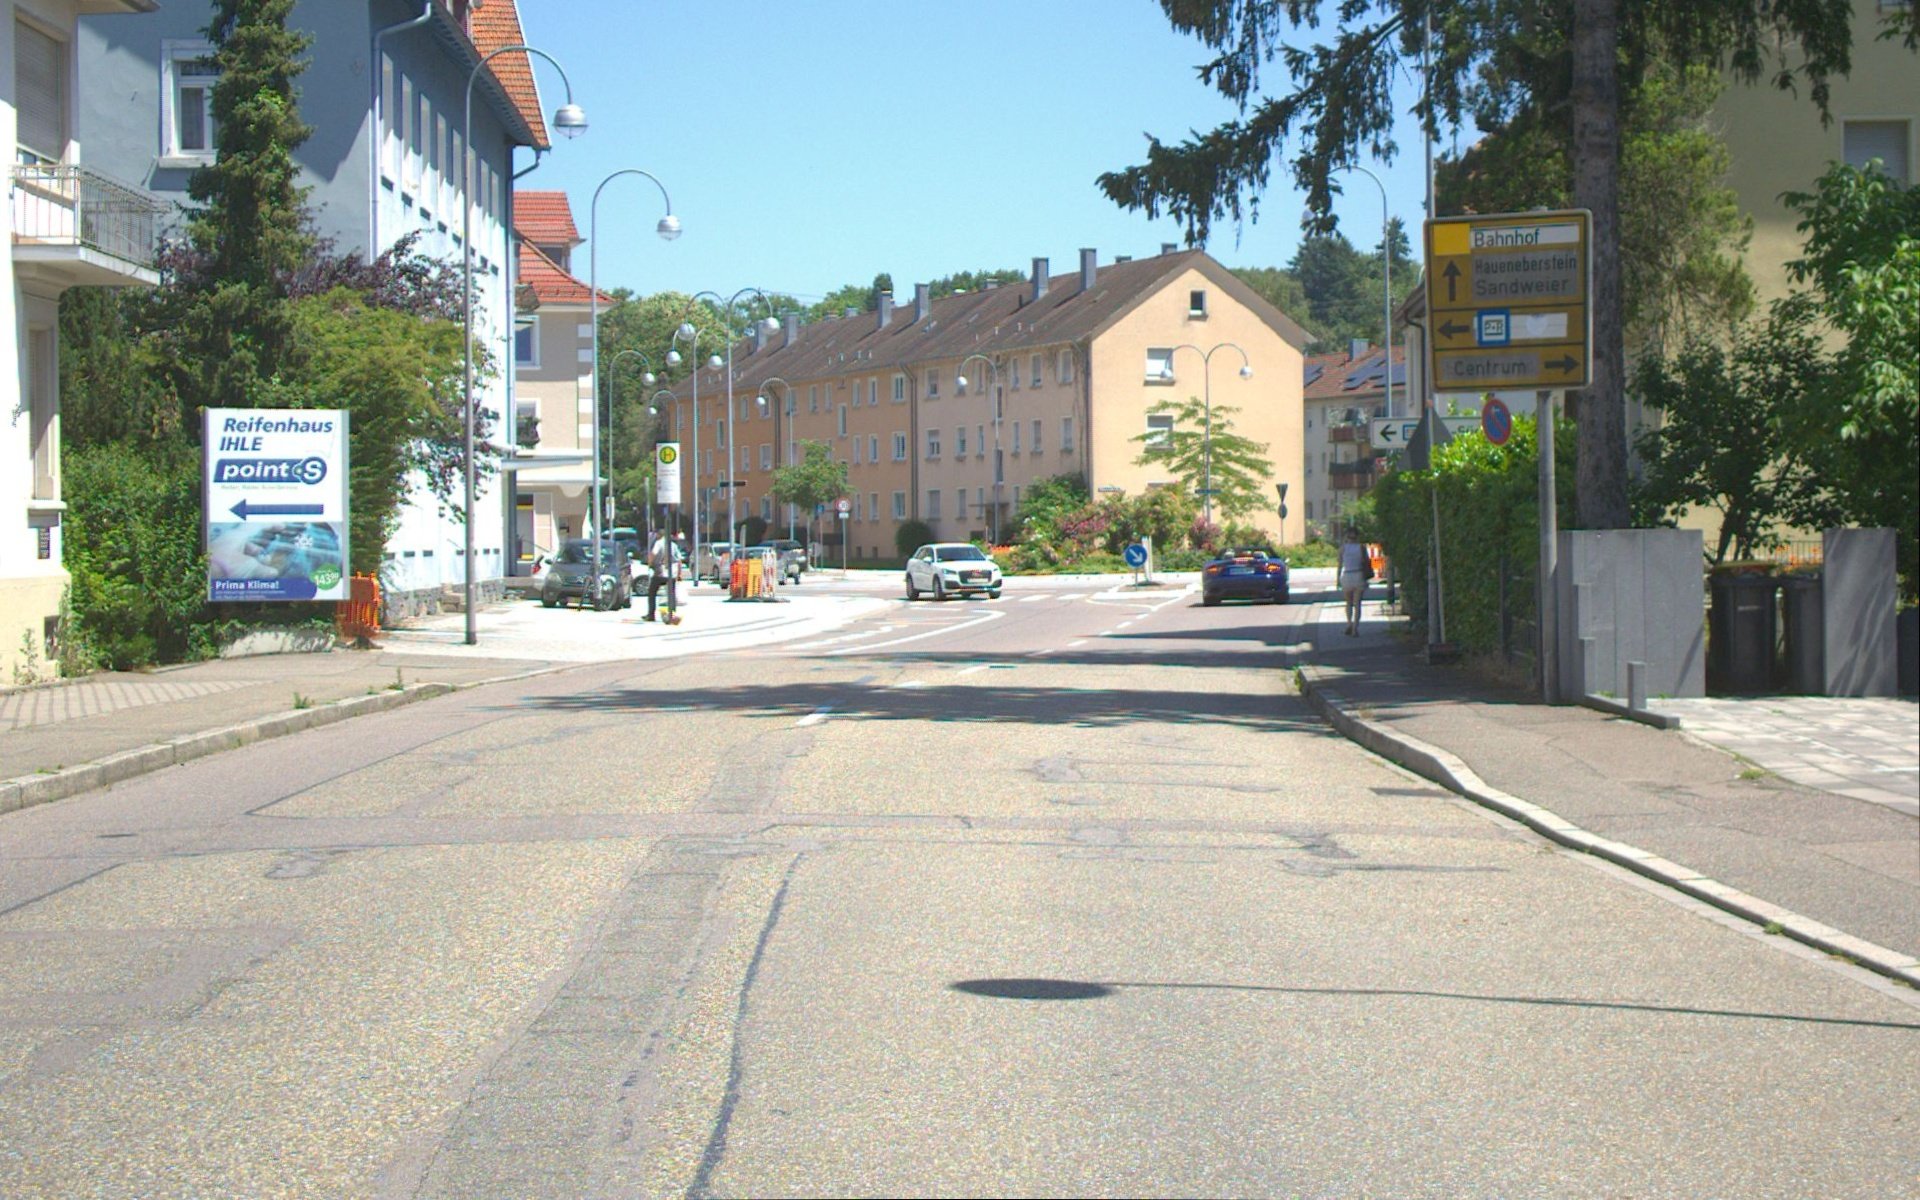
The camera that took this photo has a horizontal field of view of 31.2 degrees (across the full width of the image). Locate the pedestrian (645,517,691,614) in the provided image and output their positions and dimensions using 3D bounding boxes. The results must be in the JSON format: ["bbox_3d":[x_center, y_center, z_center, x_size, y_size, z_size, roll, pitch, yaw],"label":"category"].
[{"bbox_3d":[-5.678,-0.668,66.894,0.755,1.842,0.772,3,1,-2],"label":"pedestrian"}]

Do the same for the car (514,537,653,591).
[{"bbox_3d":[-11.344,-1.078,103.755,4.114,1.545,1.788,1,1,-6],"label":"car"}]

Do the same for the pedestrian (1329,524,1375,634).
[{"bbox_3d":[5.854,-0.317,51.399,0.623,1.638,0.772,0,0,3],"label":"pedestrian"}]

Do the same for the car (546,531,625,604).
[{"bbox_3d":[-8.216,-0.700,75.615,1.577,1.529,3.776,0,0,-4],"label":"car"}]

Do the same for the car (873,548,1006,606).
[{"bbox_3d":[-0.576,-0.606,94.238,1.821,1.525,3.950,0,0,-33],"label":"car"}]

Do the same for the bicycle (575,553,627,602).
[{"bbox_3d":[-7.480,-0.460,71.687,0.496,0.974,1.972,4,1,10],"label":"bicycle"}]

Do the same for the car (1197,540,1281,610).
[{"bbox_3d":[6.377,-0.551,78.975,1.871,1.525,4.506,0,0,4],"label":"car"}]
